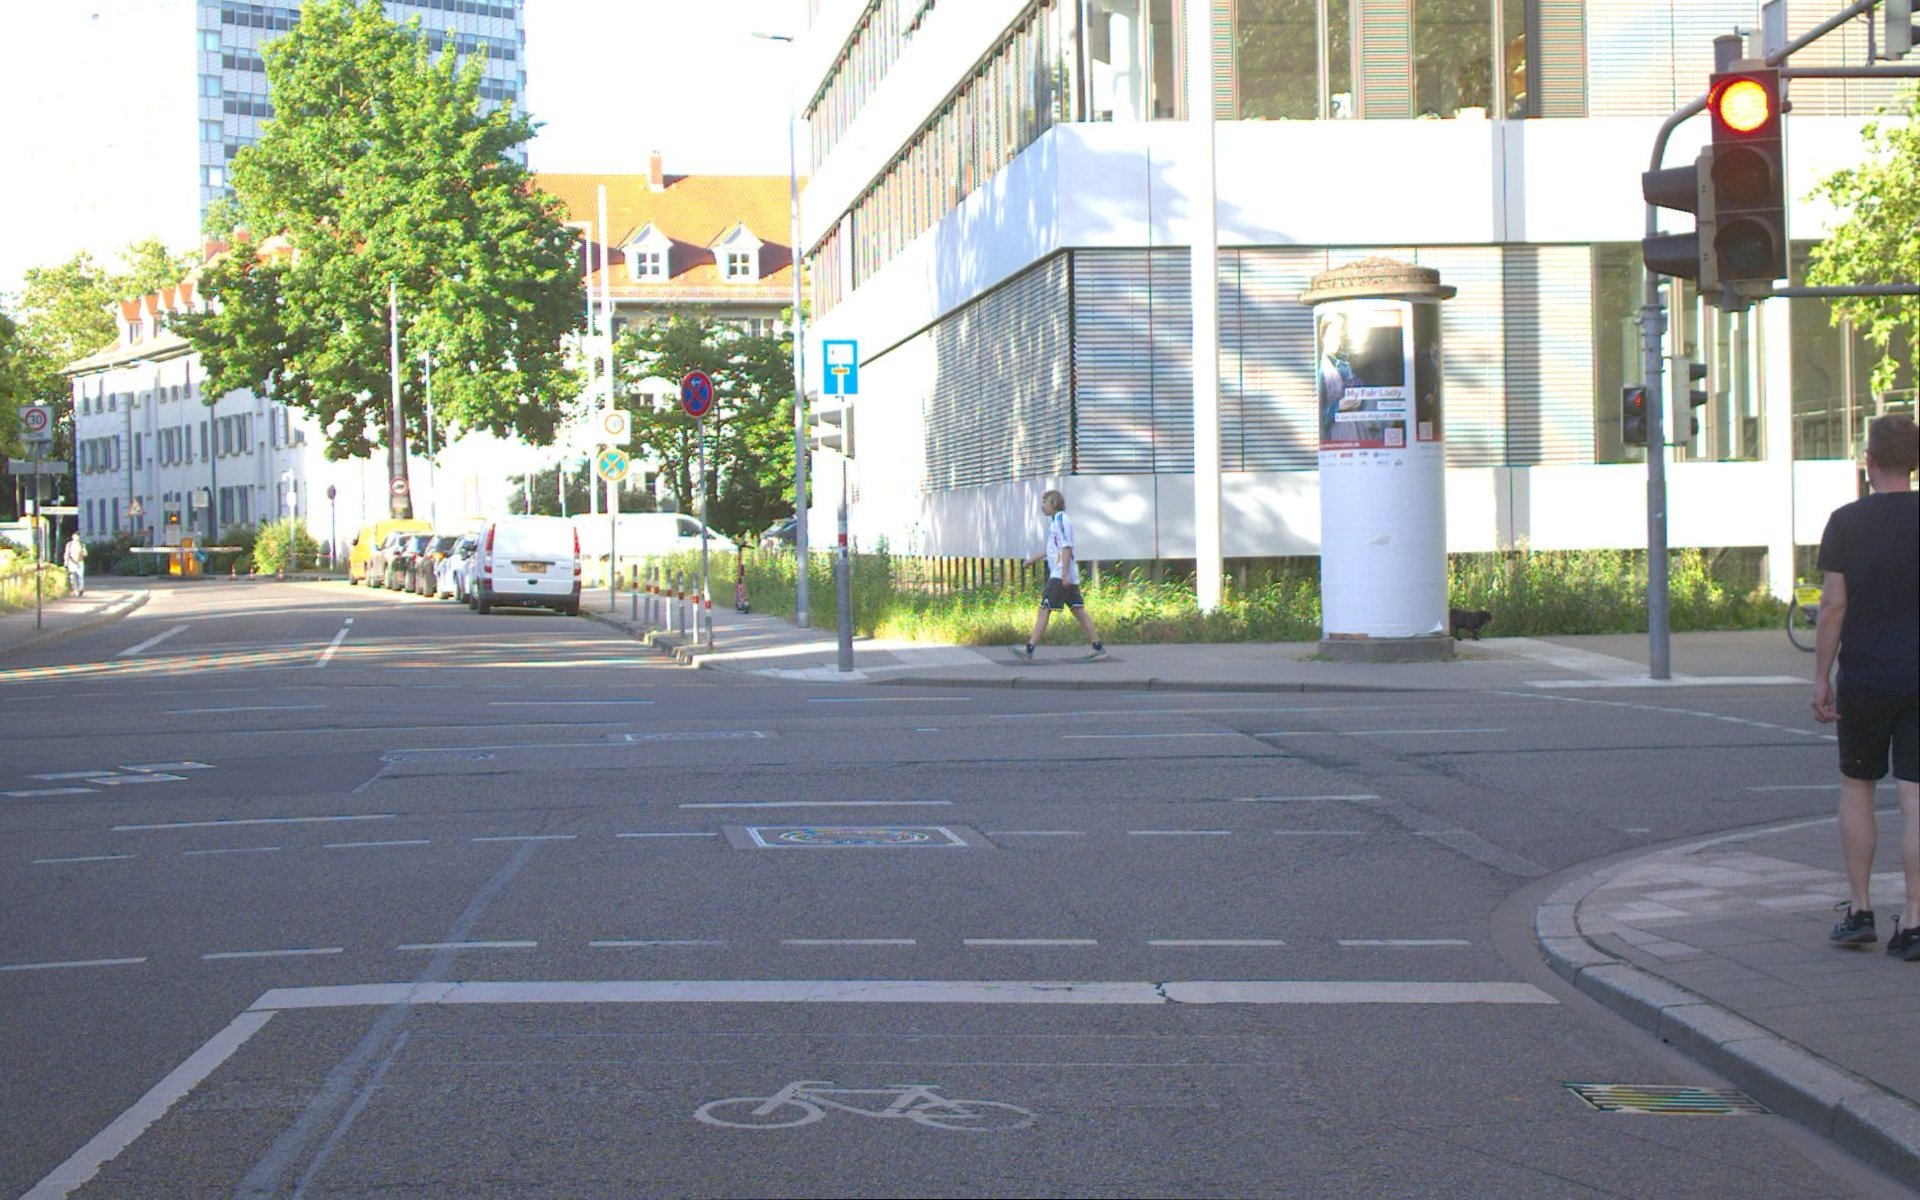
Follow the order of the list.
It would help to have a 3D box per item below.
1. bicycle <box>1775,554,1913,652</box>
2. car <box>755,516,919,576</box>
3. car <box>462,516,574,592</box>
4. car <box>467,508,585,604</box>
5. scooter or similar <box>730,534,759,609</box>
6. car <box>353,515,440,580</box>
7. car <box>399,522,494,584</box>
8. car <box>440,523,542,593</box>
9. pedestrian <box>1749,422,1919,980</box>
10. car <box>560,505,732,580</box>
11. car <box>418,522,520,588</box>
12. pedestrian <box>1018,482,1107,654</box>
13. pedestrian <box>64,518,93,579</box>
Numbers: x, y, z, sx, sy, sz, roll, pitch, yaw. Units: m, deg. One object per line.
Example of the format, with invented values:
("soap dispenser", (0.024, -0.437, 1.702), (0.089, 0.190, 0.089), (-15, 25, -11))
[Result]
("bicycle", (9.286, 0.020, 36.146), (0.378, 1.005, 1.432), (-2, 2, -42))
("car", (-3.754, -1.640, 104.772), (4.635, 1.719, 2.001), (1, 0, -16))
("car", (-9.170, -0.939, 71.034), (1.993, 1.493, 4.653), (1, 1, -11))
("car", (-8.218, -0.820, 64.820), (1.993, 1.719, 4.653), (1, 1, -10))
("scooter or similar", (-3.658, -0.494, 58.289), (0.437, 1.252, 1.420), (-1, 1, -4))
("car", (-15.737, -1.460, 95.832), (1.993, 1.719, 4.653), (1, 1, -14))
("car", (-12.878, -1.171, 85.976), (1.993, 1.493, 4.653), (1, 1, -13))
("car", (-10.503, -0.941, 76.806), (1.993, 1.493, 4.653), (1, 1, -11))
("pedestrian", (3.086, 0.326, 11.496), (0.699, 1.804, 0.720), (1, 0, -1))
("car", (-9.401, -1.712, 102.929), (4.791, 2.151, 2.001), (1, 0, -17))
("car", (-11.625, -1.067, 81.253), (1.993, 1.493, 4.288), (1, 1, -13))
("pedestrian", (1.124, -0.351, 37.857), (0.914, 1.862, 0.742), (1, 0, -1))
("pedestrian", (-22.970, -1.332, 89.565), (0.699, 1.581, 0.637), (1, 0, -16))
